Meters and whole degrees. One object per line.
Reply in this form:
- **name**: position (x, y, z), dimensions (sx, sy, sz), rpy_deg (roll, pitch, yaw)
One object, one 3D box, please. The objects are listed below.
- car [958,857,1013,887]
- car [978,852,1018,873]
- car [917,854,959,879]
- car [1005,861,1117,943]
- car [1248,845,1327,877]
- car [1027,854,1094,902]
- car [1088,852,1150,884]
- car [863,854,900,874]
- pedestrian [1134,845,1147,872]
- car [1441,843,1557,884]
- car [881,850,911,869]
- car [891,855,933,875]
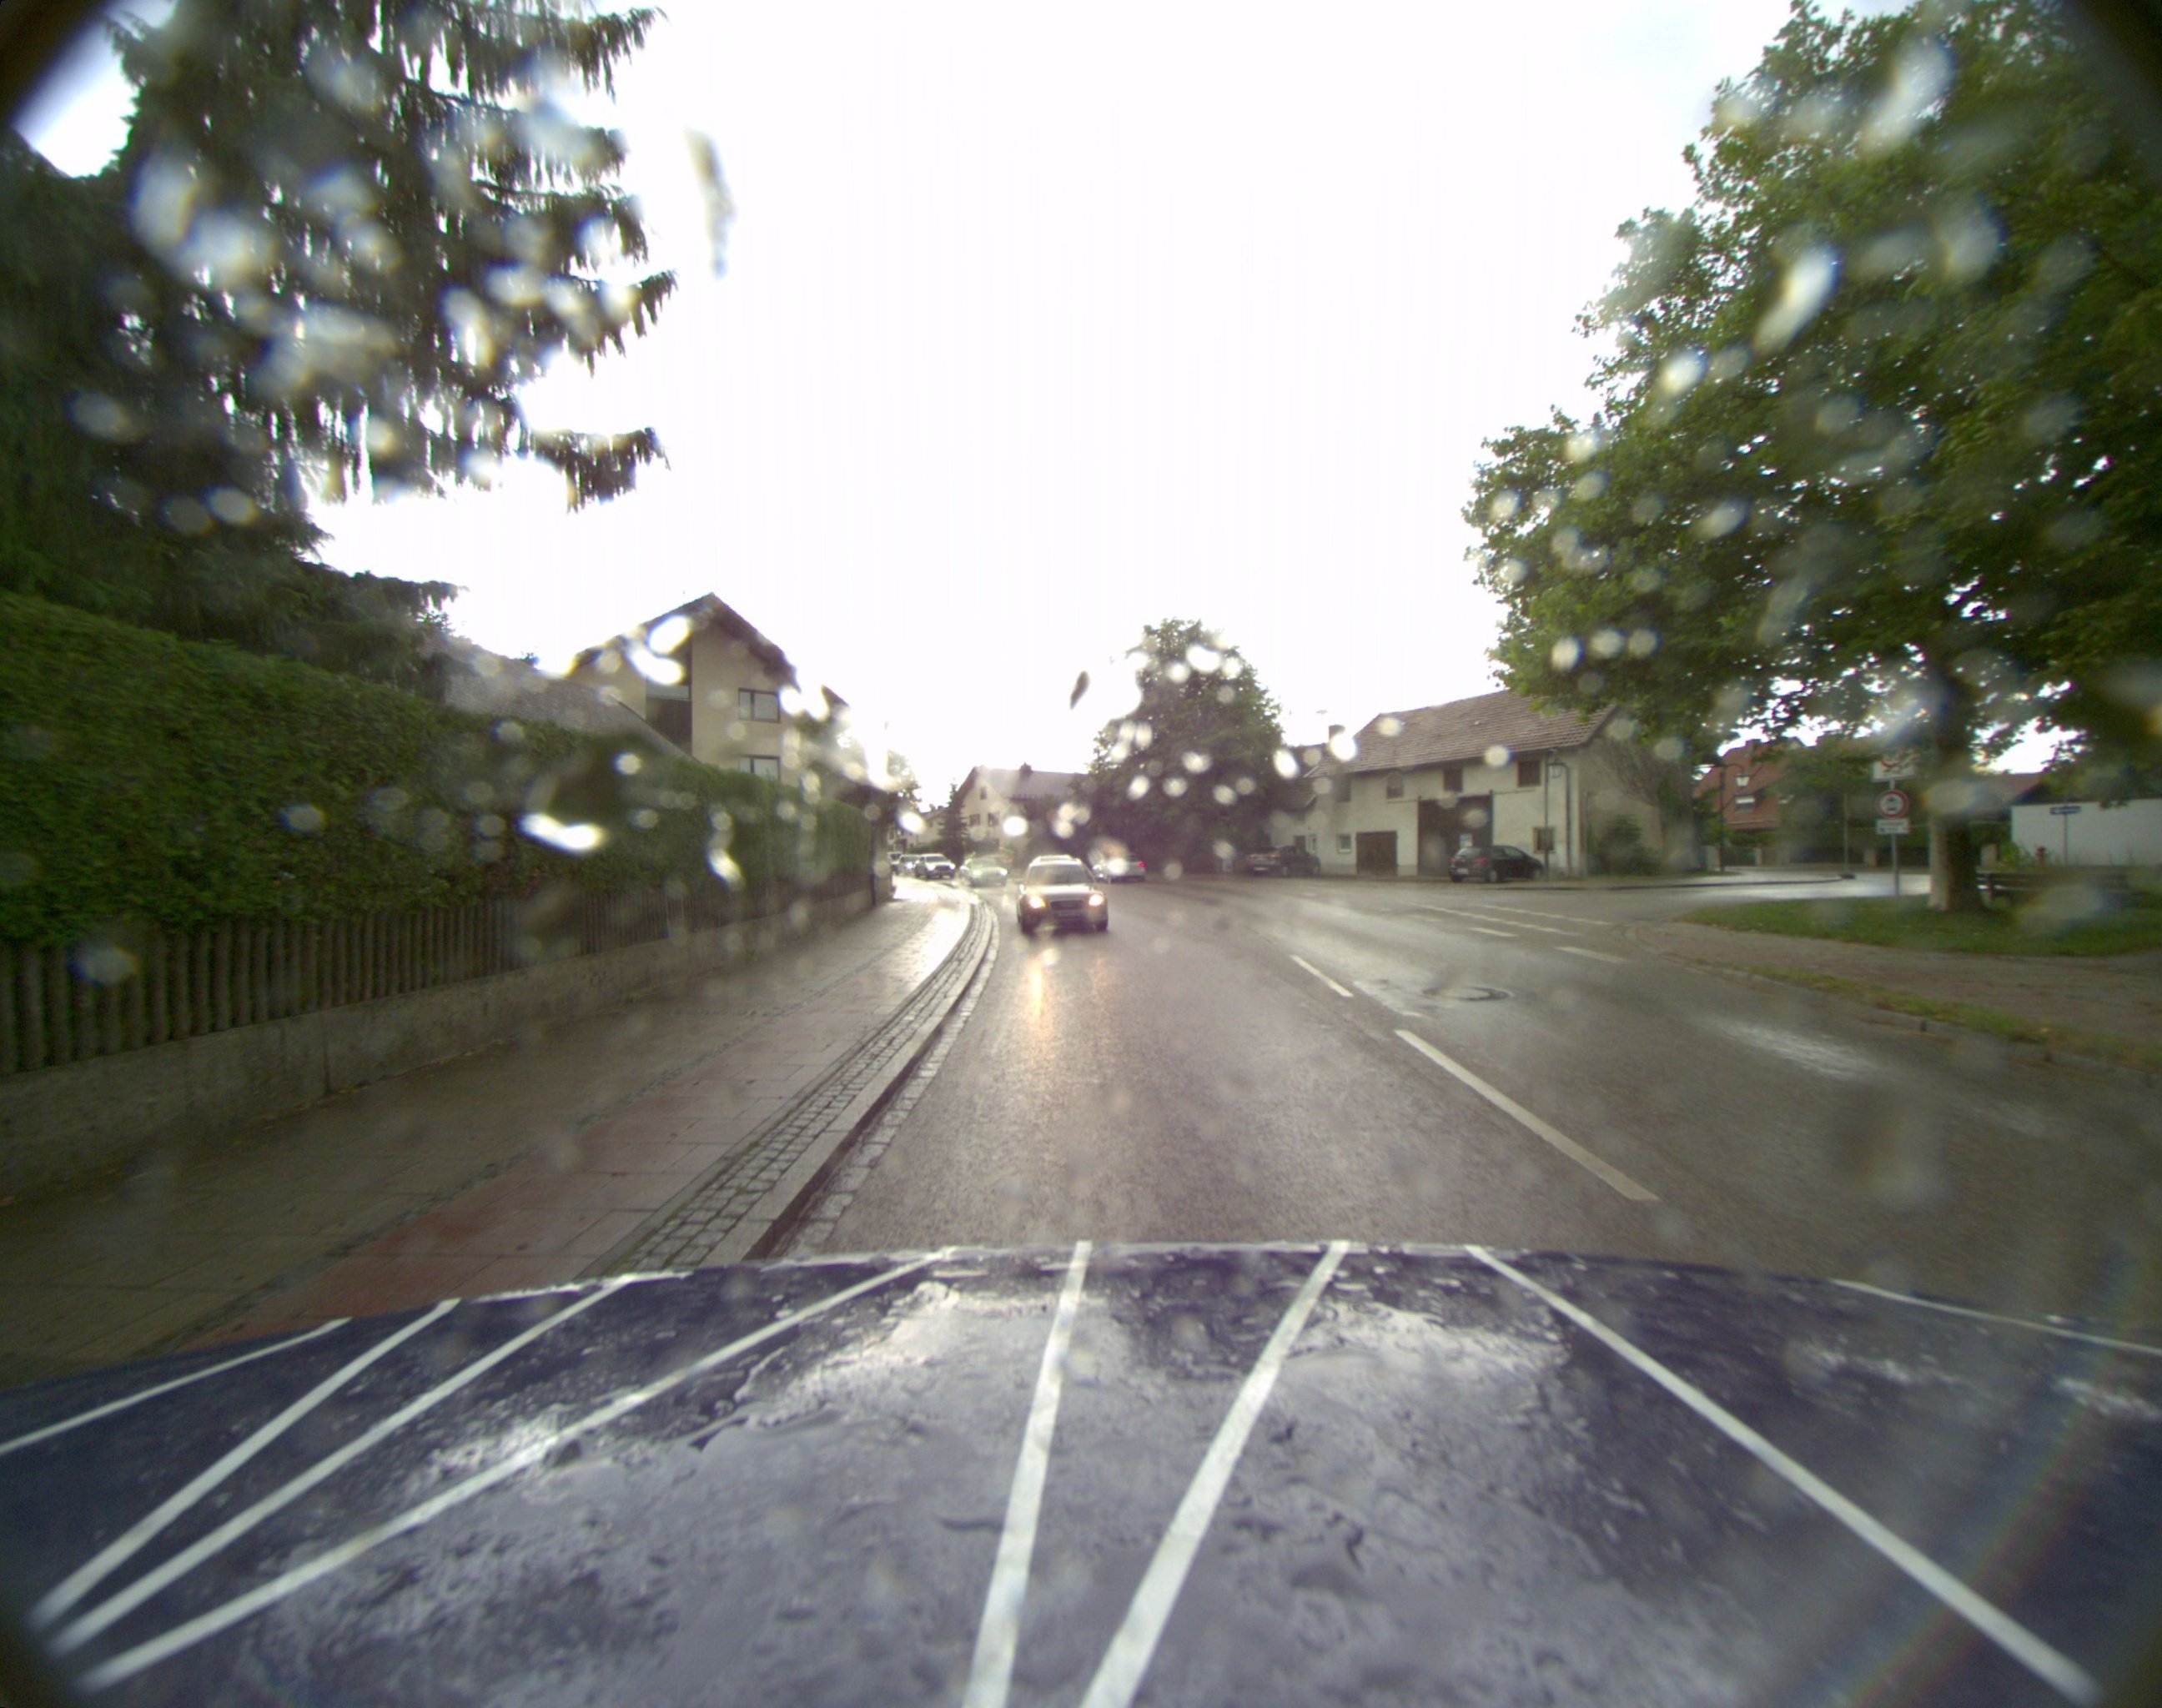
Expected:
- **car**: position (-5.088, 0.886, 39.971), dimensions (1.797, 1.387, 4.273), rpy_deg (-3, 1, -21)
- **car**: position (-6.165, 0.592, 56.216), dimensions (1.625, 1.436, 3.662), rpy_deg (-3, 1, -29)
- **car**: position (-9.751, 0.839, 51.614), dimensions (1.797, 1.539, 4.272), rpy_deg (-3, 1, -24)
- **car**: position (-0.581, 0.921, 16.533), dimensions (1.795, 1.387, 4.277), rpy_deg (-3, 1, -10)
- **car**: position (10.462, 0.370, 38.429), dimensions (4.290, 1.539, 1.812), rpy_deg (1, 0, -42)
- **car**: position (-0.884, 0.805, 28.370), dimensions (1.795, 1.471, 5.380), rpy_deg (-3, 1, -9)
- **car**: position (1.830, 0.678, 38.081), dimensions (1.723, 1.434, 3.993), rpy_deg (-3, 1, -18)
- **car**: position (-17.031, 0.833, 64.731), dimensions (1.798, 1.539, 4.270), rpy_deg (-3, 1, -32)
- **pedestrian**: position (3.672, 0.261, 46.795), dimensions (0.652, 1.619, 0.479), rpy_deg (-1, 1, 17)
- **car**: position (16.106, 0.340, 29.258), dimensions (4.287, 1.428, 1.817), rpy_deg (-2, 1, -27)
- **car**: position (-18.385, 0.582, 75.449), dimensions (1.648, 1.755, 4.320), rpy_deg (-3, 1, -31)
- **car**: position (-13.142, 0.828, 58.954), dimensions (1.798, 1.365, 4.270), rpy_deg (-3, 1, -32)
